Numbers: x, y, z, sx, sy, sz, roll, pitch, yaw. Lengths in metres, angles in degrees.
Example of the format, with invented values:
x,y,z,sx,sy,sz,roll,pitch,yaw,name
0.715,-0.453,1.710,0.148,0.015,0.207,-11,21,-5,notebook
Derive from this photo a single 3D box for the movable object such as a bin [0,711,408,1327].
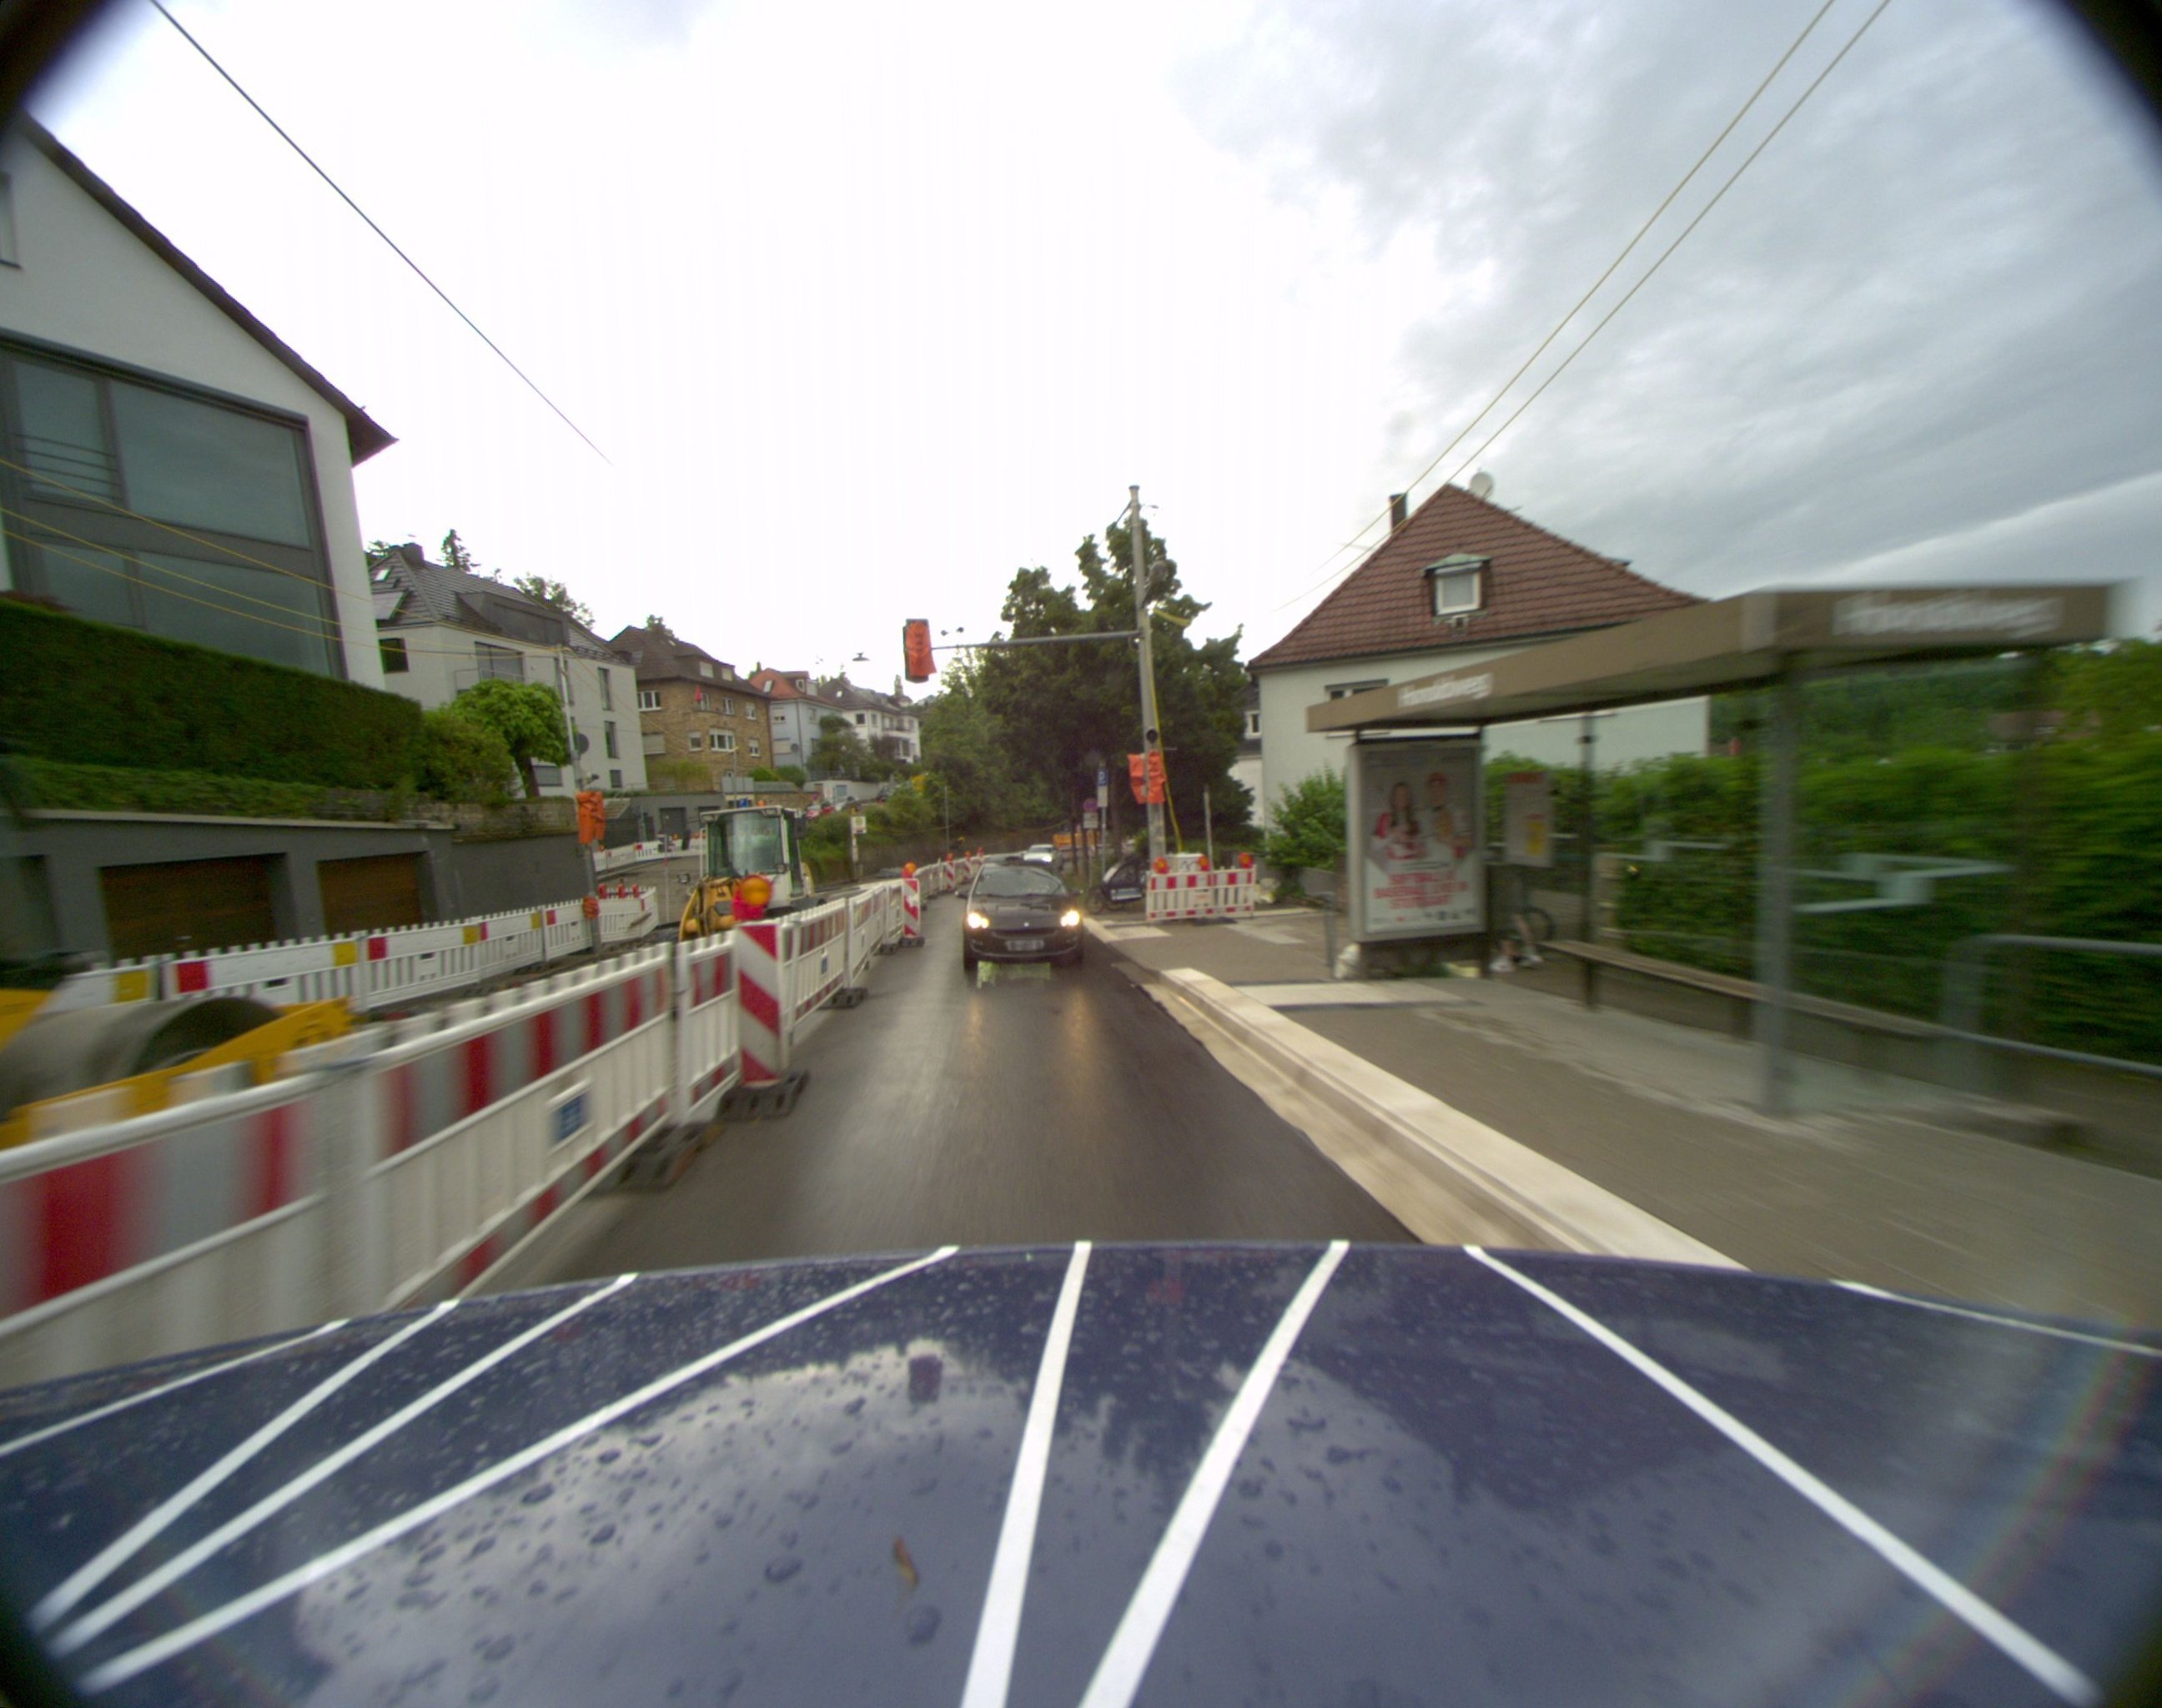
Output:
x,y,z,sx,sy,sz,roll,pitch,yaw,name
-5.969,0.799,2.883,2.093,2.822,5.673,-3,1,-7,movable object such as a bin

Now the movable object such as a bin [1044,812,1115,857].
x,y,z,sx,sy,sz,roll,pitch,yaw,name
0.002,-1.837,69.551,3.323,3.818,7.214,-1,3,29,movable object such as a bin

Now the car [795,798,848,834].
x,y,z,sx,sy,sz,roll,pitch,yaw,name
-19.648,-2.926,57.861,1.899,2.070,4.423,-1,10,7,car

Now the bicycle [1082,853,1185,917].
x,y,z,sx,sy,sz,roll,pitch,yaw,name
1.221,0.709,17.769,2.237,1.354,0.808,-2,2,-13,bicycle

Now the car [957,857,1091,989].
x,y,z,sx,sy,sz,roll,pitch,yaw,name
-1.103,0.900,12.180,1.675,1.458,4.710,-2,2,-9,car

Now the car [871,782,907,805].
x,y,z,sx,sy,sz,roll,pitch,yaw,name
-18.212,-5.774,72.364,1.858,1.629,3.958,-1,11,7,car

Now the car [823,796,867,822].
x,y,z,sx,sy,sz,roll,pitch,yaw,name
-19.203,-3.725,62.071,1.858,1.629,3.958,-1,10,7,car

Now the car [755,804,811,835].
x,y,z,sx,sy,sz,roll,pitch,yaw,name
-20.542,-2.413,52.497,1.858,1.629,3.828,-1,10,7,car

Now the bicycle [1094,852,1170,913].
x,y,z,sx,sy,sz,roll,pitch,yaw,name
1.231,0.679,18.364,1.696,1.337,0.418,-4,1,-12,bicycle

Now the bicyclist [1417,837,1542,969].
x,y,z,sx,sy,sz,roll,pitch,yaw,name
4.638,0.528,8.929,0.908,1.431,1.097,-2,2,1,bicyclist

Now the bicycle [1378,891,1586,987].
x,y,z,sx,sy,sz,roll,pitch,yaw,name
4.645,0.966,8.948,1.876,0.926,1.097,-2,2,1,bicycle

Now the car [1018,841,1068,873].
x,y,z,sx,sy,sz,roll,pitch,yaw,name
-2.240,0.150,46.100,1.998,1.699,4.575,-2,2,10,car

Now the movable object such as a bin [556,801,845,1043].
x,y,z,sx,sy,sz,roll,pitch,yaw,name
-5.461,0.677,12.047,2.093,2.823,5.670,-3,3,-7,movable object such as a bin

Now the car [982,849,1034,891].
x,y,z,sx,sy,sz,roll,pitch,yaw,name
-3.003,0.570,30.439,1.844,1.395,4.066,-2,2,-8,car
